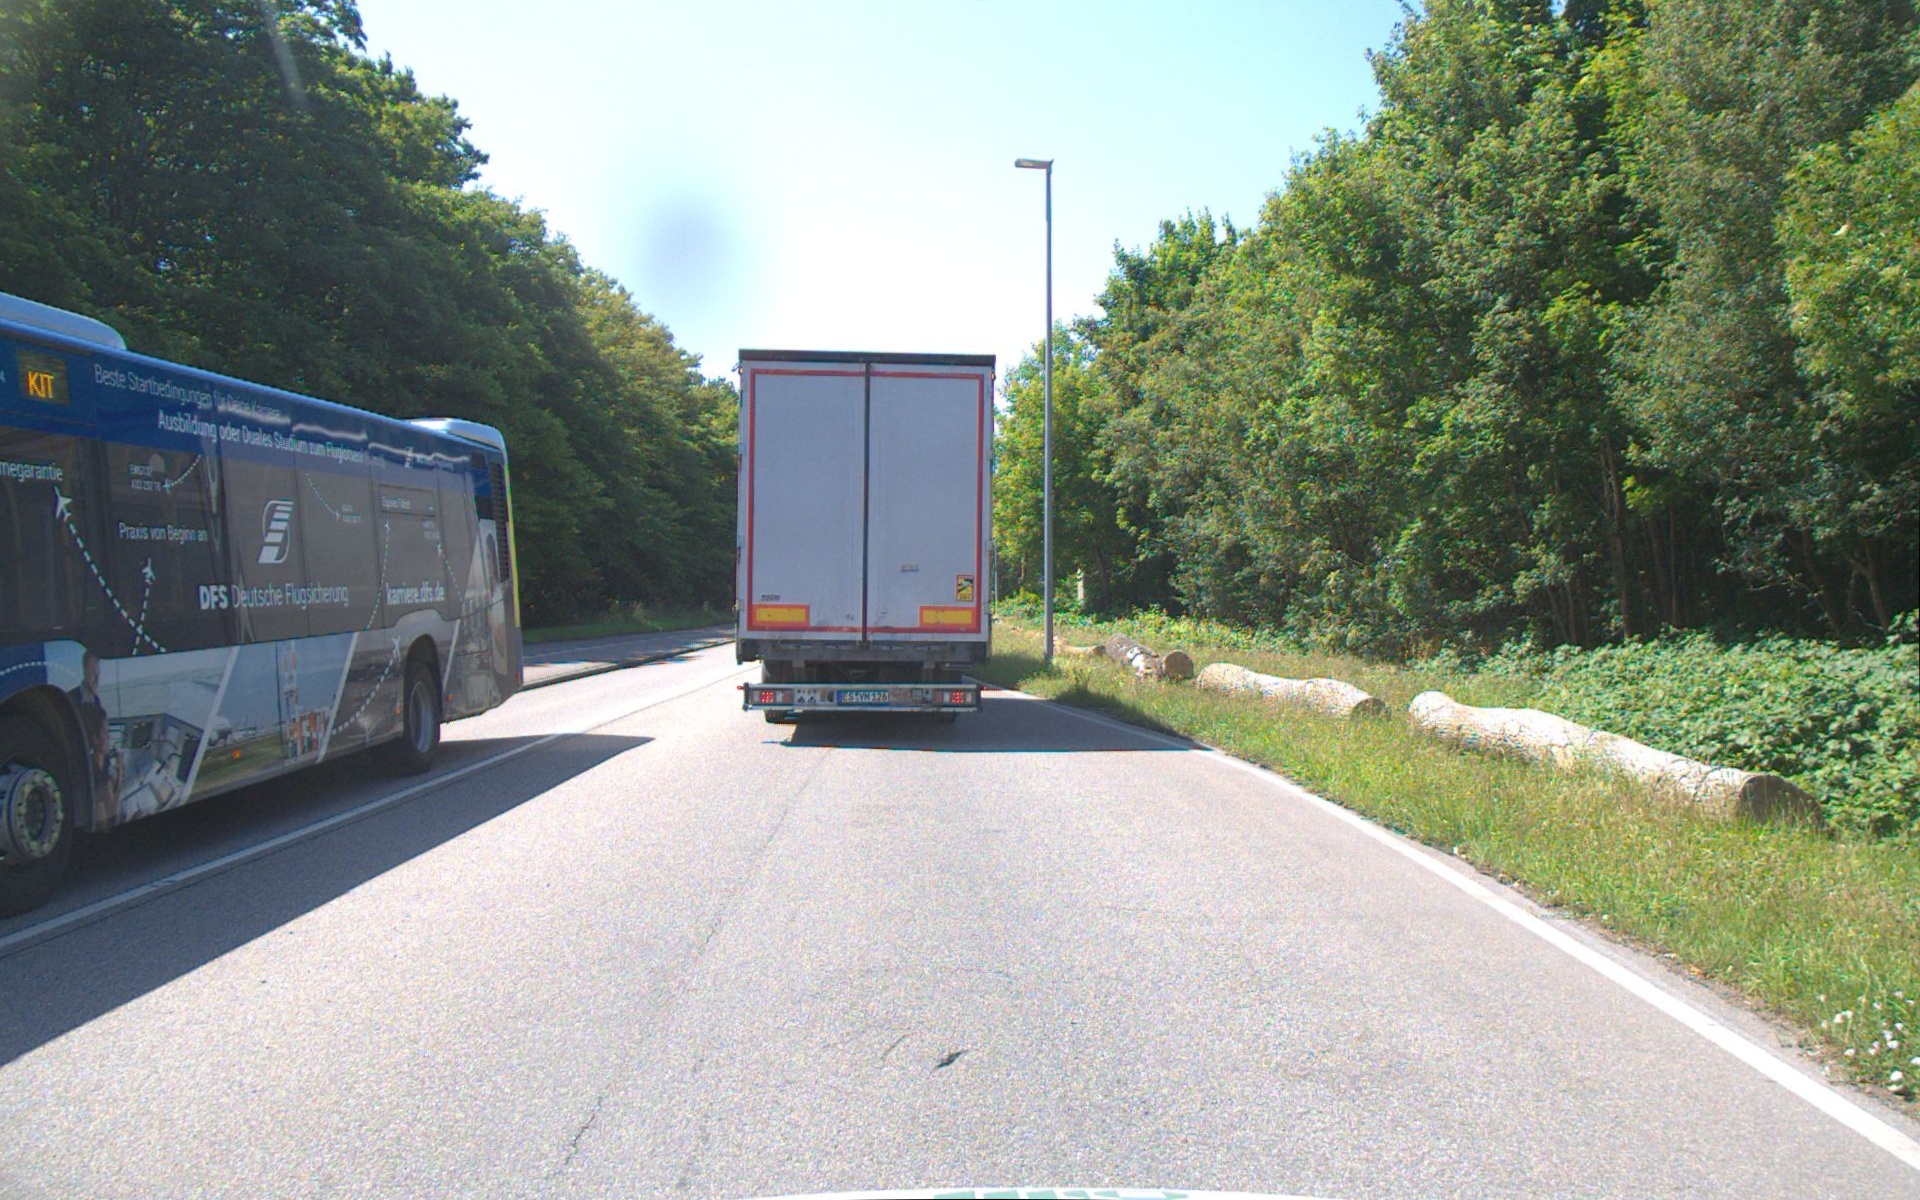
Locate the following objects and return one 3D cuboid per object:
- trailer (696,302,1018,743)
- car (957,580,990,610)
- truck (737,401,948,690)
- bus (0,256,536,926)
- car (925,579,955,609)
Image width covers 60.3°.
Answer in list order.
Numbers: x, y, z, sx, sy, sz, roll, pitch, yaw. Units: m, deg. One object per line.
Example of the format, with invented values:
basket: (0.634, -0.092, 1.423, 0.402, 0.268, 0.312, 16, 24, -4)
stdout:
trailer: (-1.386, -0.778, 20.538, 3.017, 4.141, 9.798, 0, 0, -5)
car: (0.704, -0.272, 88.093, 1.676, 1.557, 3.850, 0, 0, -1)
truck: (-2.010, -0.842, 27.813, 3.017, 4.140, 7.951, 0, 1, -5)
bus: (-5.801, -0.029, 11.166, 2.694, 3.098, 11.937, -3, 1, 0)
car: (-1.444, -0.444, 118.622, 1.952, 2.049, 4.001, -1, 0, 1)
